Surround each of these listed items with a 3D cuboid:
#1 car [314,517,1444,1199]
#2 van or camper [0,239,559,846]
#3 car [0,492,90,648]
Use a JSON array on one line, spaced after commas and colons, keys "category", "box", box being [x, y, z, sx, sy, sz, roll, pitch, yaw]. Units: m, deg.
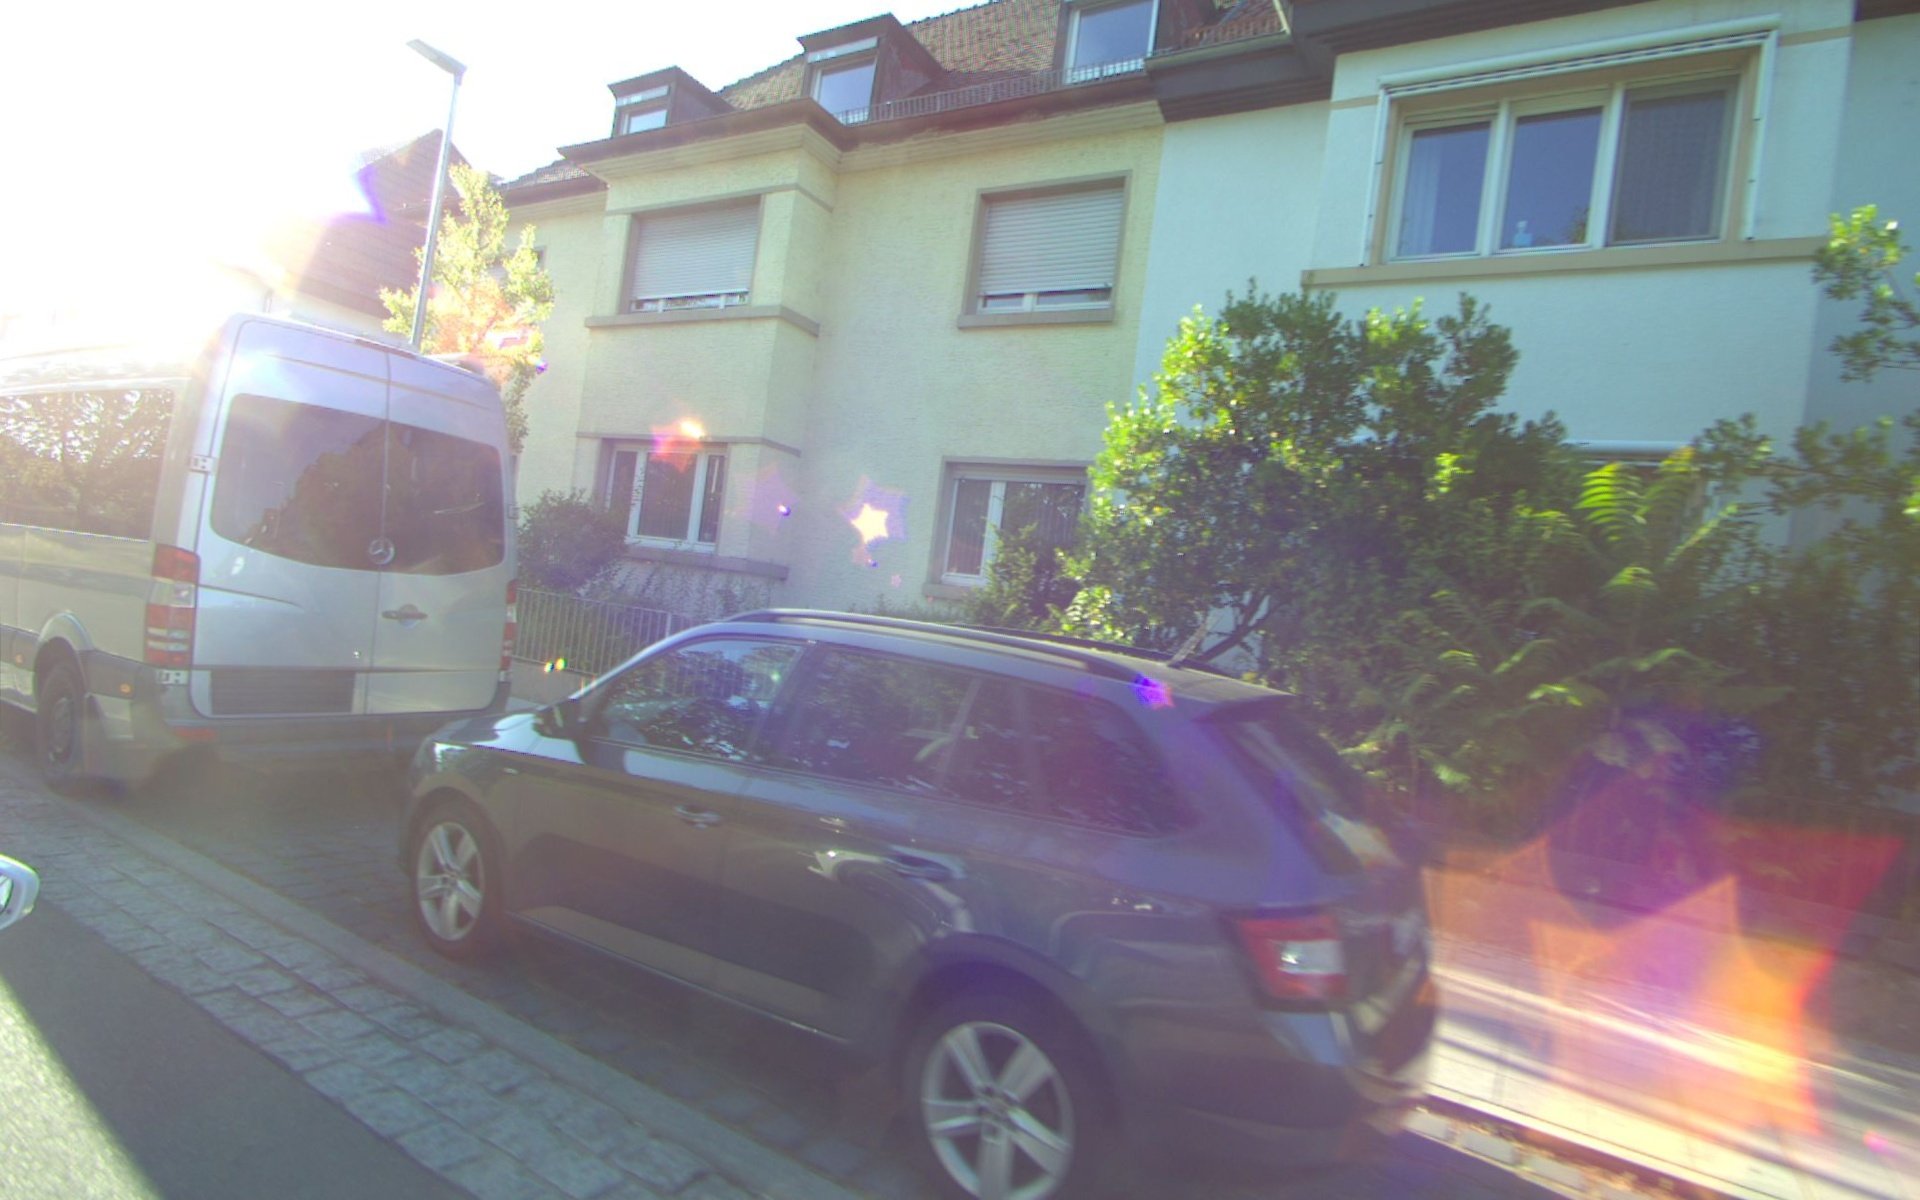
[{"category": "car", "box": [-0.505, 0.751, 3.915, 4.018, 1.611, 1.667, 7, -2, 32]}, {"category": "van or camper", "box": [-5.649, -0.433, 6.984, 5.842, 2.809, 1.948, 6, -2, 32]}, {"category": "car", "box": [-10.610, -0.458, 10.190, 3.903, 1.430, 1.621, 7, 2, 32]}]
